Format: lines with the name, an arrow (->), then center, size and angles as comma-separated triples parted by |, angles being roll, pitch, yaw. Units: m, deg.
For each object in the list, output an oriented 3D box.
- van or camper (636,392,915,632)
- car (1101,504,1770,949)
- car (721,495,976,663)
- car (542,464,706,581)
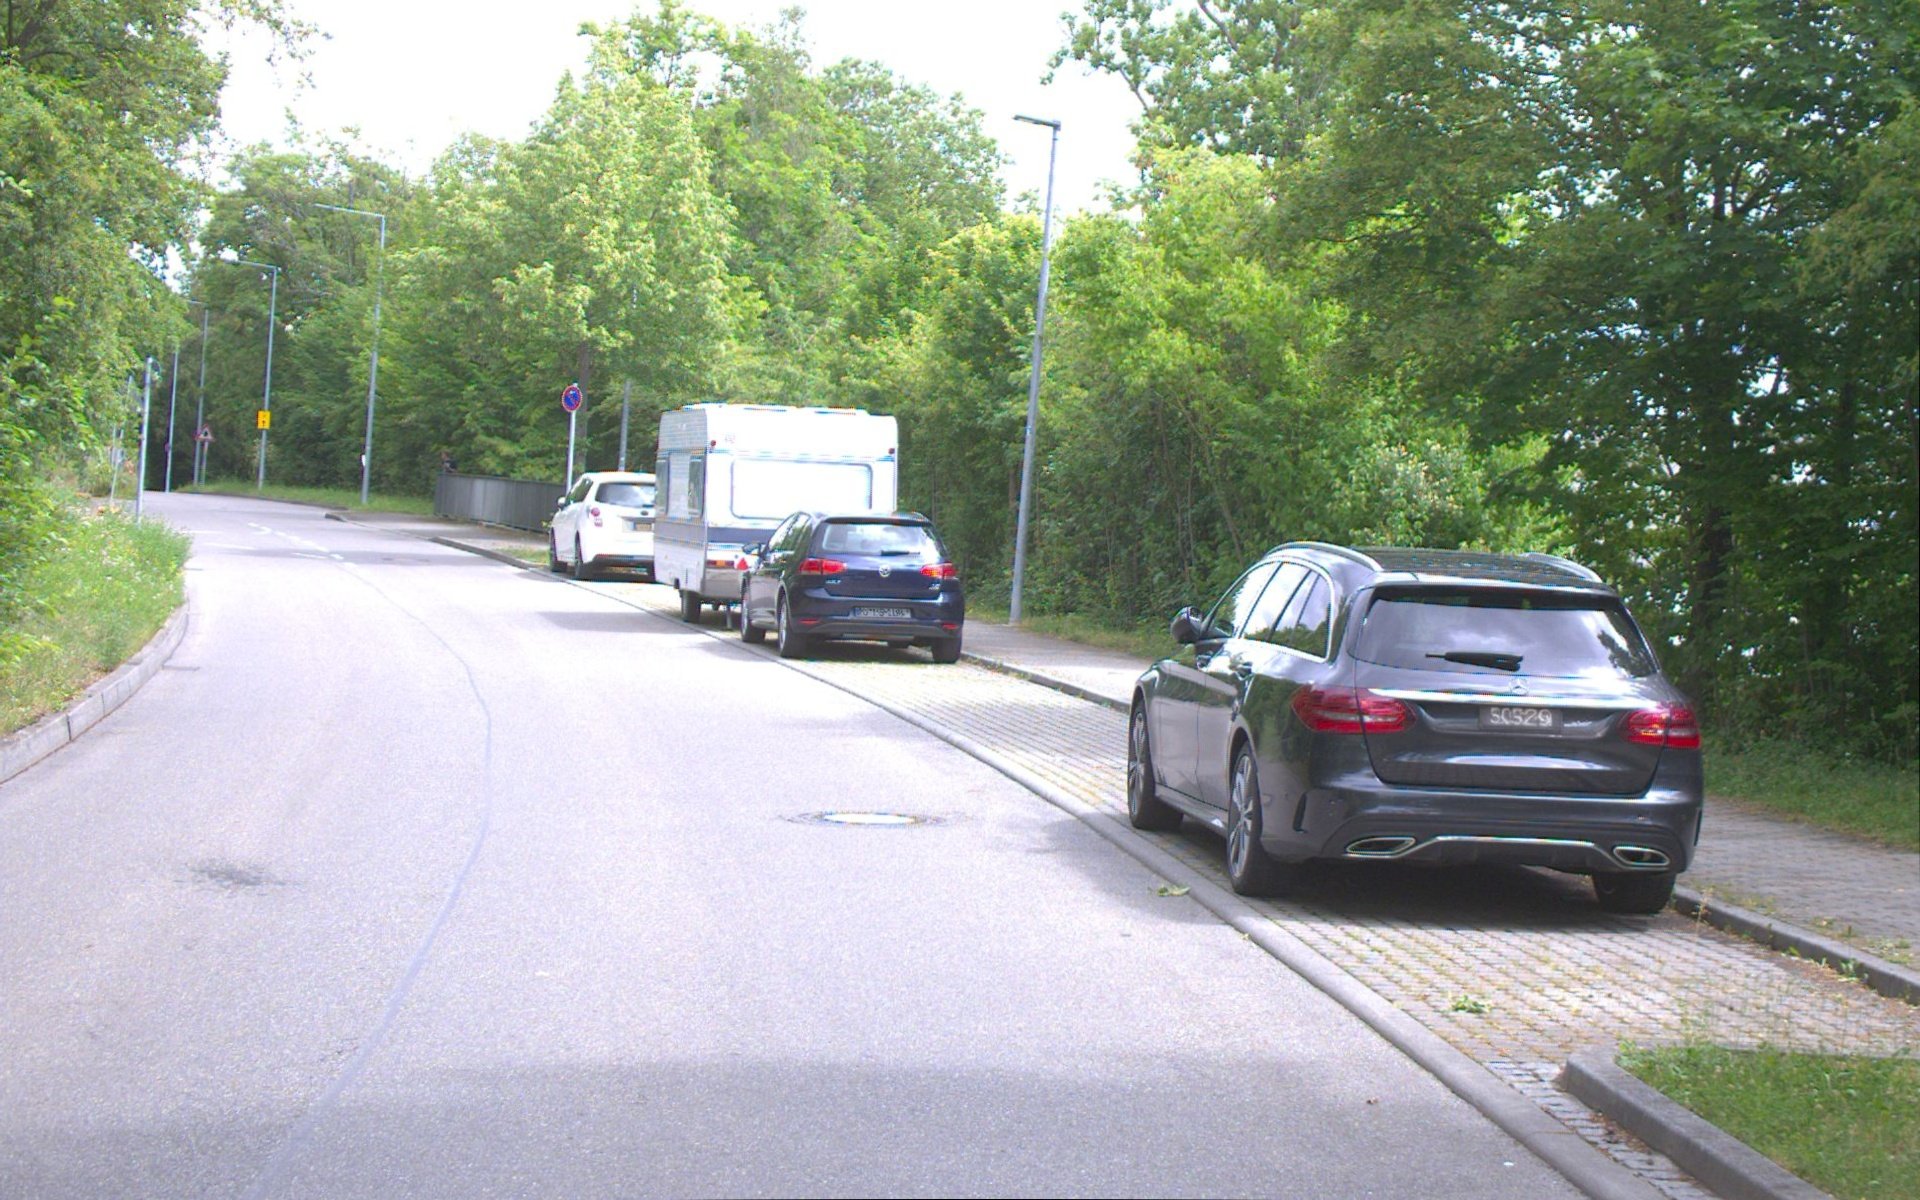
van or camper -> -2.243, -1.055, 40.144 | 2.354, 2.545, 5.076 | 2, 2, -13
car -> 1.890, 0.421, 15.211 | 1.892, 1.524, 4.547 | 3, 2, -5
car -> -1.197, -0.255, 34.511 | 1.681, 1.446, 4.482 | 3, 2, -13
car -> -5.178, -1.220, 52.535 | 1.804, 1.594, 4.374 | 2, 2, -14
